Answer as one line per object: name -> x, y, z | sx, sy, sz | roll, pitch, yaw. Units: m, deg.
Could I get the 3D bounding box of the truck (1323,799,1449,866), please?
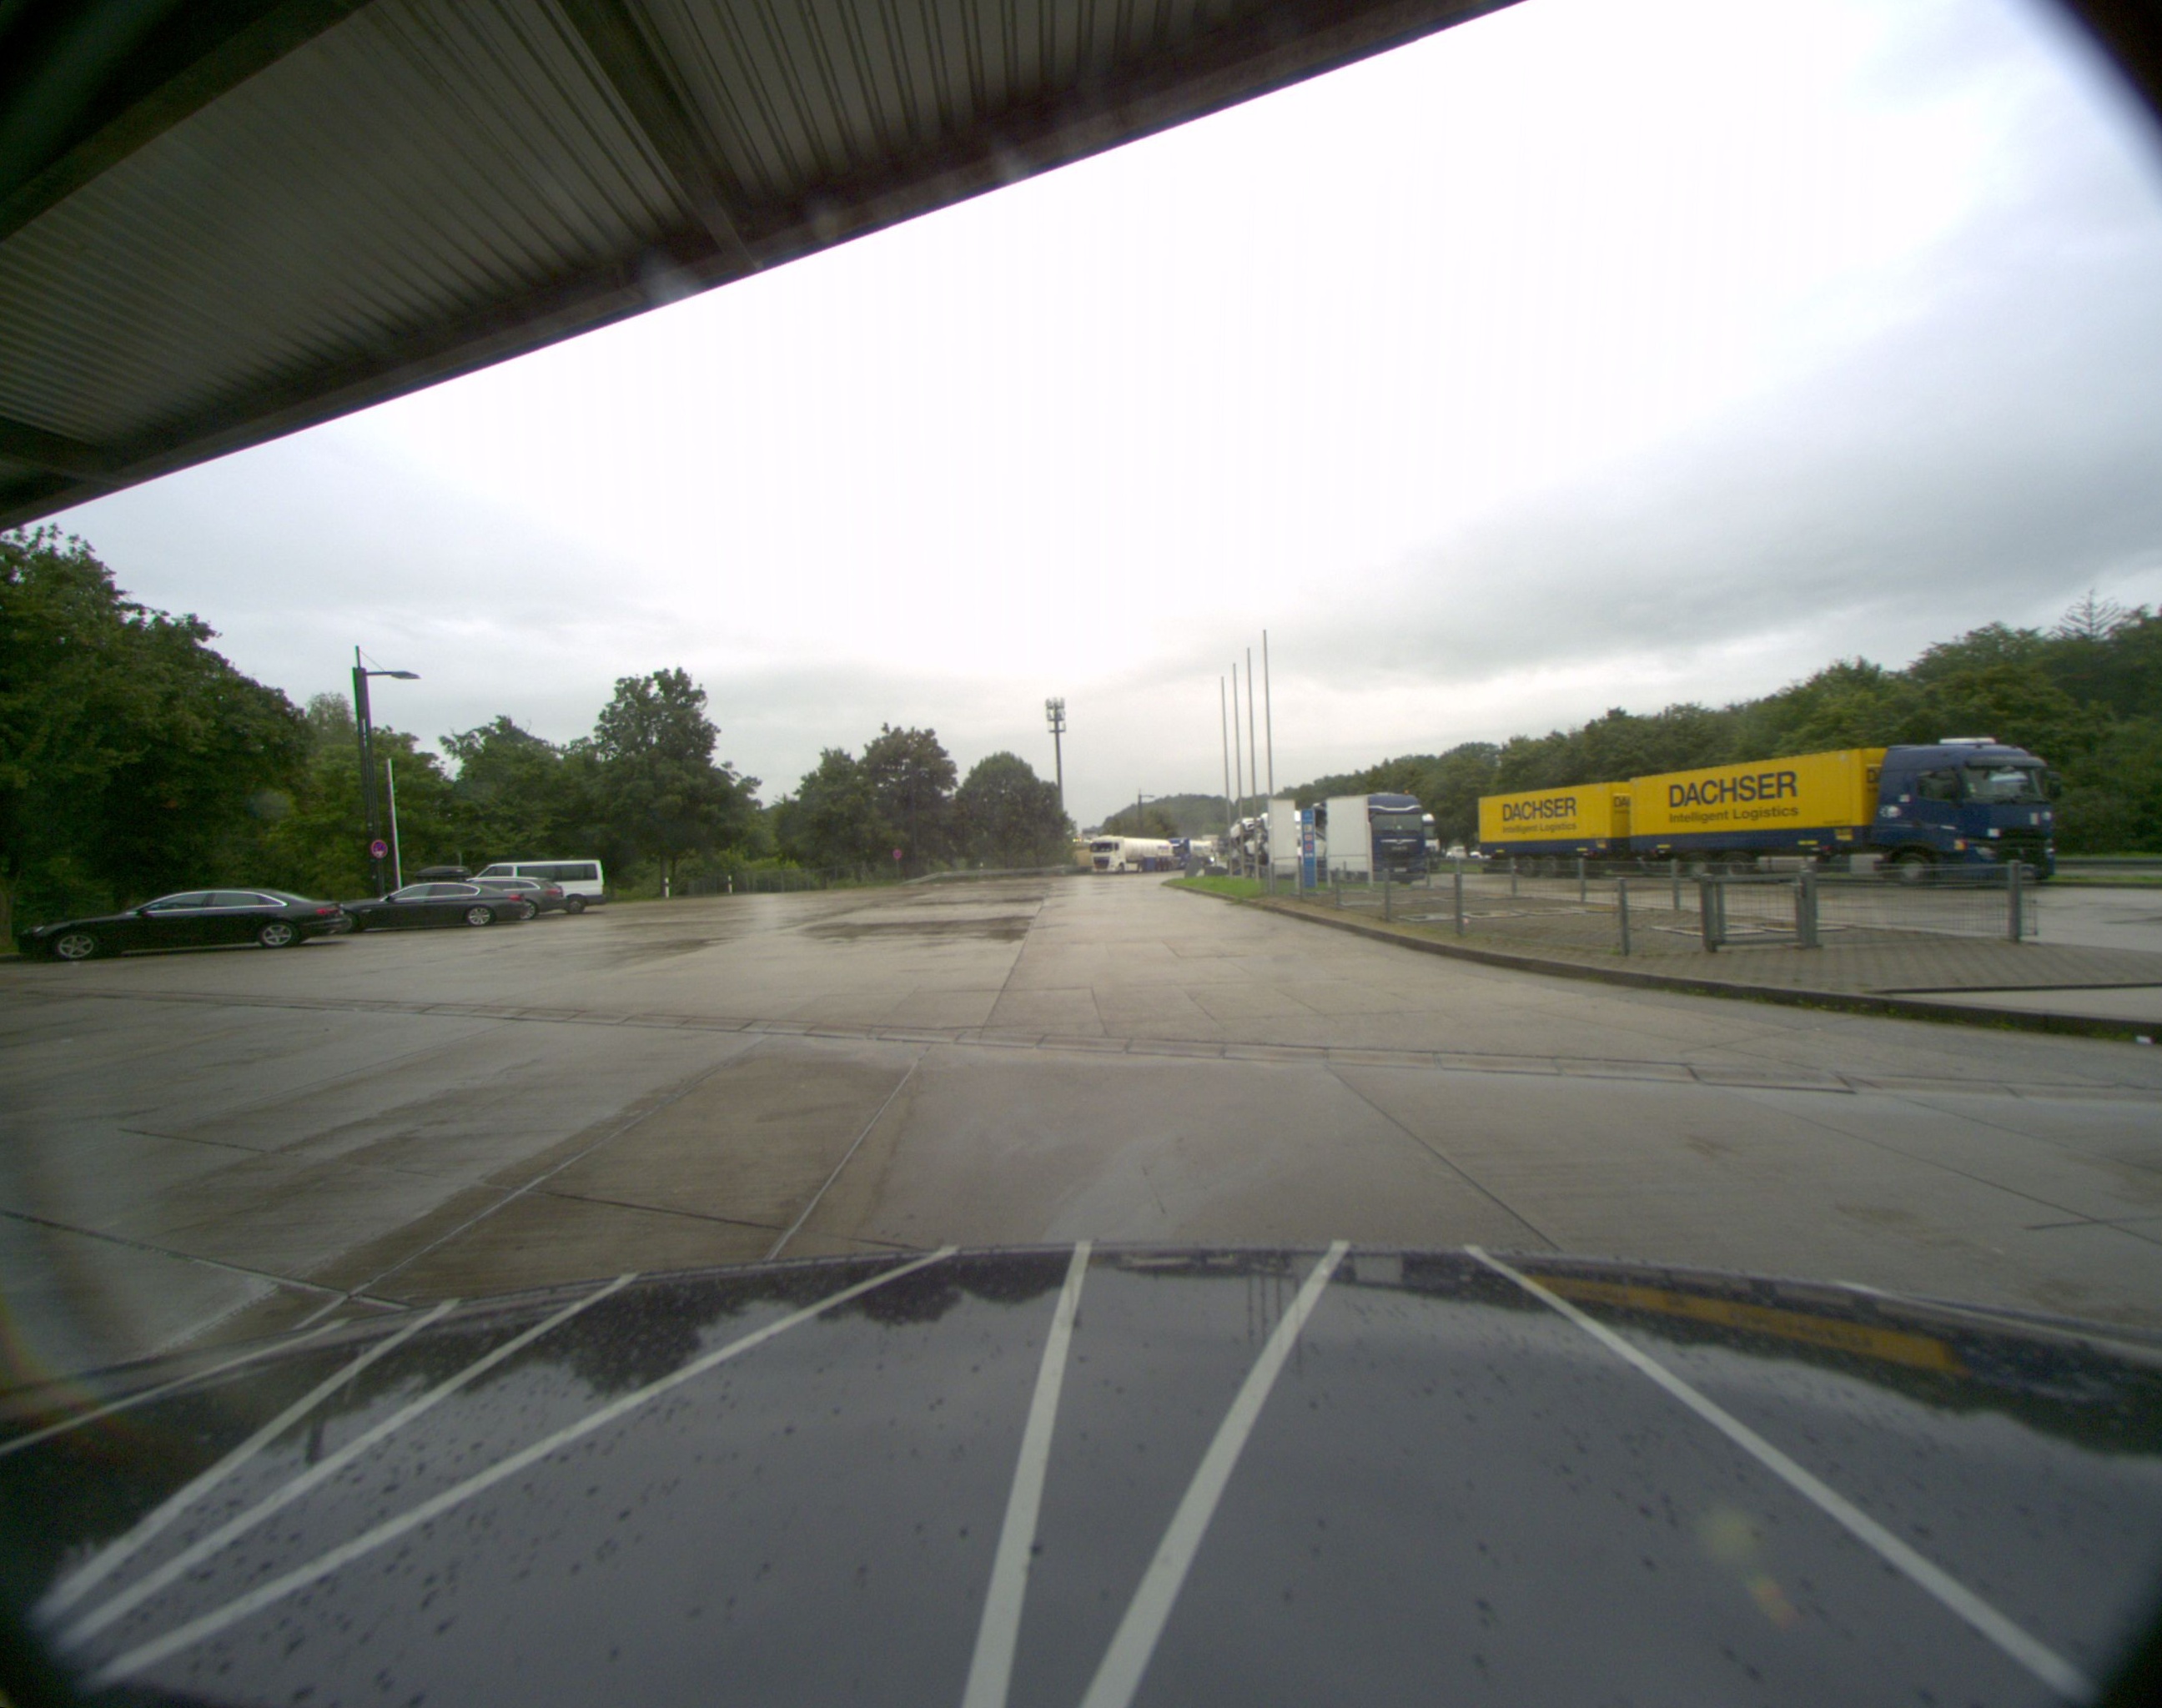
truck -> 19.883, -1.302, 50.568 | 2.757, 3.894, 10.678 | -2, 1, -8

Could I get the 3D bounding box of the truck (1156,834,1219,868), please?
truck -> 12.782, -0.406, 89.689 | 3.506, 3.584, 14.685 | -2, 0, 23

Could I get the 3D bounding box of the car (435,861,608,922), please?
car -> -20.427, 1.292, 27.995 | 4.898, 1.938, 2.310 | -2, 0, -35

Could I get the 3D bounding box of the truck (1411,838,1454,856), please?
truck -> 45.451, -0.916, 98.507 | 2.082, 2.112, 5.827 | -2, 1, -10

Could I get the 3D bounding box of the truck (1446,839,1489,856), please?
truck -> 51.848, -0.906, 102.016 | 2.082, 2.112, 5.827 | -2, 1, -10

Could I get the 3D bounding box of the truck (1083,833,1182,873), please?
truck -> 5.454, -0.162, 75.208 | 3.505, 3.584, 14.426 | -2, 0, 31

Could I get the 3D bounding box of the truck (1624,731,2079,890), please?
truck -> 23.154, -1.131, 24.326 | 2.757, 3.894, 10.678 | -2, 1, -8

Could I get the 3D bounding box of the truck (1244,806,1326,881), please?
truck -> 11.047, -0.560, 41.588 | 2.665, 3.750, 4.747 | -2, 1, -6

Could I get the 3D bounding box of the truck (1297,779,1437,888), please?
truck -> 12.184, -0.798, 33.180 | 2.665, 4.157, 7.103 | -2, 0, -6

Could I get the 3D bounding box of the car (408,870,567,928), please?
car -> -19.471, 1.431, 25.159 | 4.007, 1.650, 1.596 | -2, 0, -35

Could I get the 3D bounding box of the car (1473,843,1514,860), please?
car -> 46.784, -0.306, 86.309 | 1.730, 1.879, 4.367 | -2, 1, -10

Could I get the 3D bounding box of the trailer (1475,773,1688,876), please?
trailer -> 21.792, -1.187, 33.947 | 2.757, 3.894, 8.700 | -2, 1, -9

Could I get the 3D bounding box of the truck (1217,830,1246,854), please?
truck -> 33.800, -2.714, 171.168 | 3.145, 5.092, 11.515 | -2, 1, -5

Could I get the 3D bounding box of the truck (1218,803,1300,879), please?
truck -> 10.571, -0.728, 45.778 | 2.665, 4.157, 6.618 | -2, 1, -6

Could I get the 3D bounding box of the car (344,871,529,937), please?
car -> -18.875, 1.398, 22.507 | 4.007, 1.650, 1.596 | -2, 0, -35

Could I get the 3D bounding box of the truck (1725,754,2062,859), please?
truck -> 33.911, -1.765, 32.713 | 2.421, 3.785, 10.223 | -2, 1, -10

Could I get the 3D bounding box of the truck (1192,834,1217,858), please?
truck -> 22.785, -1.450, 140.749 | 3.143, 4.105, 11.523 | -2, 1, 3
